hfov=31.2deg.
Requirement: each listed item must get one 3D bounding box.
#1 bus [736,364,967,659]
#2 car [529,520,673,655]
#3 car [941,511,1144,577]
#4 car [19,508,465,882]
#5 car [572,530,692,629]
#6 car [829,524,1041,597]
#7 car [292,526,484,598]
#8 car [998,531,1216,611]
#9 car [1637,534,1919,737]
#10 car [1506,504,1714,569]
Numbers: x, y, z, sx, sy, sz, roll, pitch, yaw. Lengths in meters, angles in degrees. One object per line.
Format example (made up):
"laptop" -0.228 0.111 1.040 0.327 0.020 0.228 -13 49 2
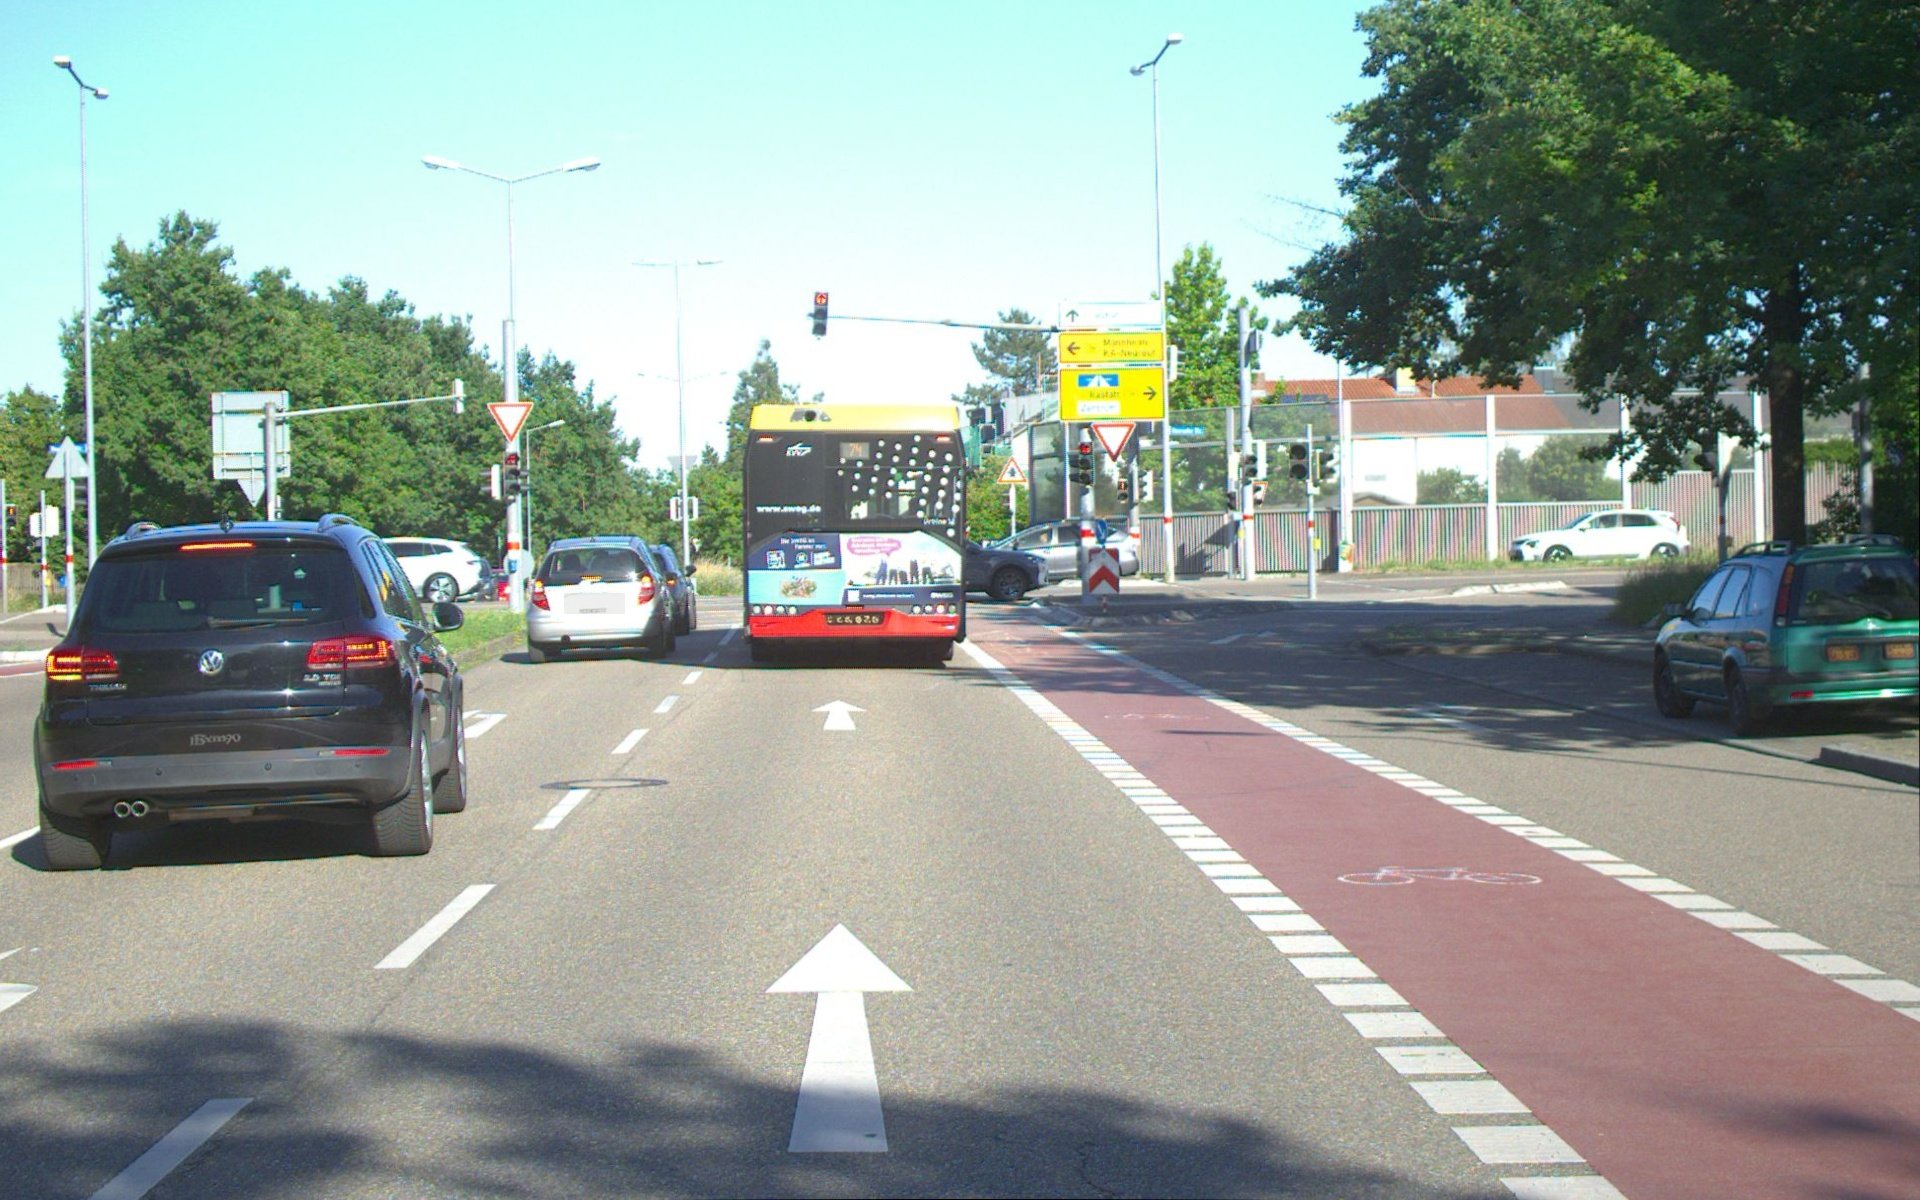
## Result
"bus" -1.397 -1.120 44.758 2.596 3.323 11.985 0 1 -2
"car" -4.775 -0.206 45.340 1.753 1.614 4.035 -1 2 -7
"car" 1.992 -1.371 83.853 4.701 1.535 2.001 -1 1 -7
"car" -3.573 0.424 17.759 1.820 1.668 4.003 -1 0 -6
"car" -5.145 -0.329 54.252 1.588 1.480 3.682 -1 0 -1
"car" -0.533 -0.797 70.694 4.220 1.475 1.764 0 0 -6
"car" -13.526 -0.902 81.524 4.383 1.677 1.712 0 0 -6
"car" 2.486 -0.493 57.568 3.523 1.297 1.574 0 1 7
"car" 6.627 0.227 27.213 1.592 1.424 4.204 -2 1 -1
"car" 16.136 -1.573 85.440 4.701 1.535 2.000 -1 1 -5
